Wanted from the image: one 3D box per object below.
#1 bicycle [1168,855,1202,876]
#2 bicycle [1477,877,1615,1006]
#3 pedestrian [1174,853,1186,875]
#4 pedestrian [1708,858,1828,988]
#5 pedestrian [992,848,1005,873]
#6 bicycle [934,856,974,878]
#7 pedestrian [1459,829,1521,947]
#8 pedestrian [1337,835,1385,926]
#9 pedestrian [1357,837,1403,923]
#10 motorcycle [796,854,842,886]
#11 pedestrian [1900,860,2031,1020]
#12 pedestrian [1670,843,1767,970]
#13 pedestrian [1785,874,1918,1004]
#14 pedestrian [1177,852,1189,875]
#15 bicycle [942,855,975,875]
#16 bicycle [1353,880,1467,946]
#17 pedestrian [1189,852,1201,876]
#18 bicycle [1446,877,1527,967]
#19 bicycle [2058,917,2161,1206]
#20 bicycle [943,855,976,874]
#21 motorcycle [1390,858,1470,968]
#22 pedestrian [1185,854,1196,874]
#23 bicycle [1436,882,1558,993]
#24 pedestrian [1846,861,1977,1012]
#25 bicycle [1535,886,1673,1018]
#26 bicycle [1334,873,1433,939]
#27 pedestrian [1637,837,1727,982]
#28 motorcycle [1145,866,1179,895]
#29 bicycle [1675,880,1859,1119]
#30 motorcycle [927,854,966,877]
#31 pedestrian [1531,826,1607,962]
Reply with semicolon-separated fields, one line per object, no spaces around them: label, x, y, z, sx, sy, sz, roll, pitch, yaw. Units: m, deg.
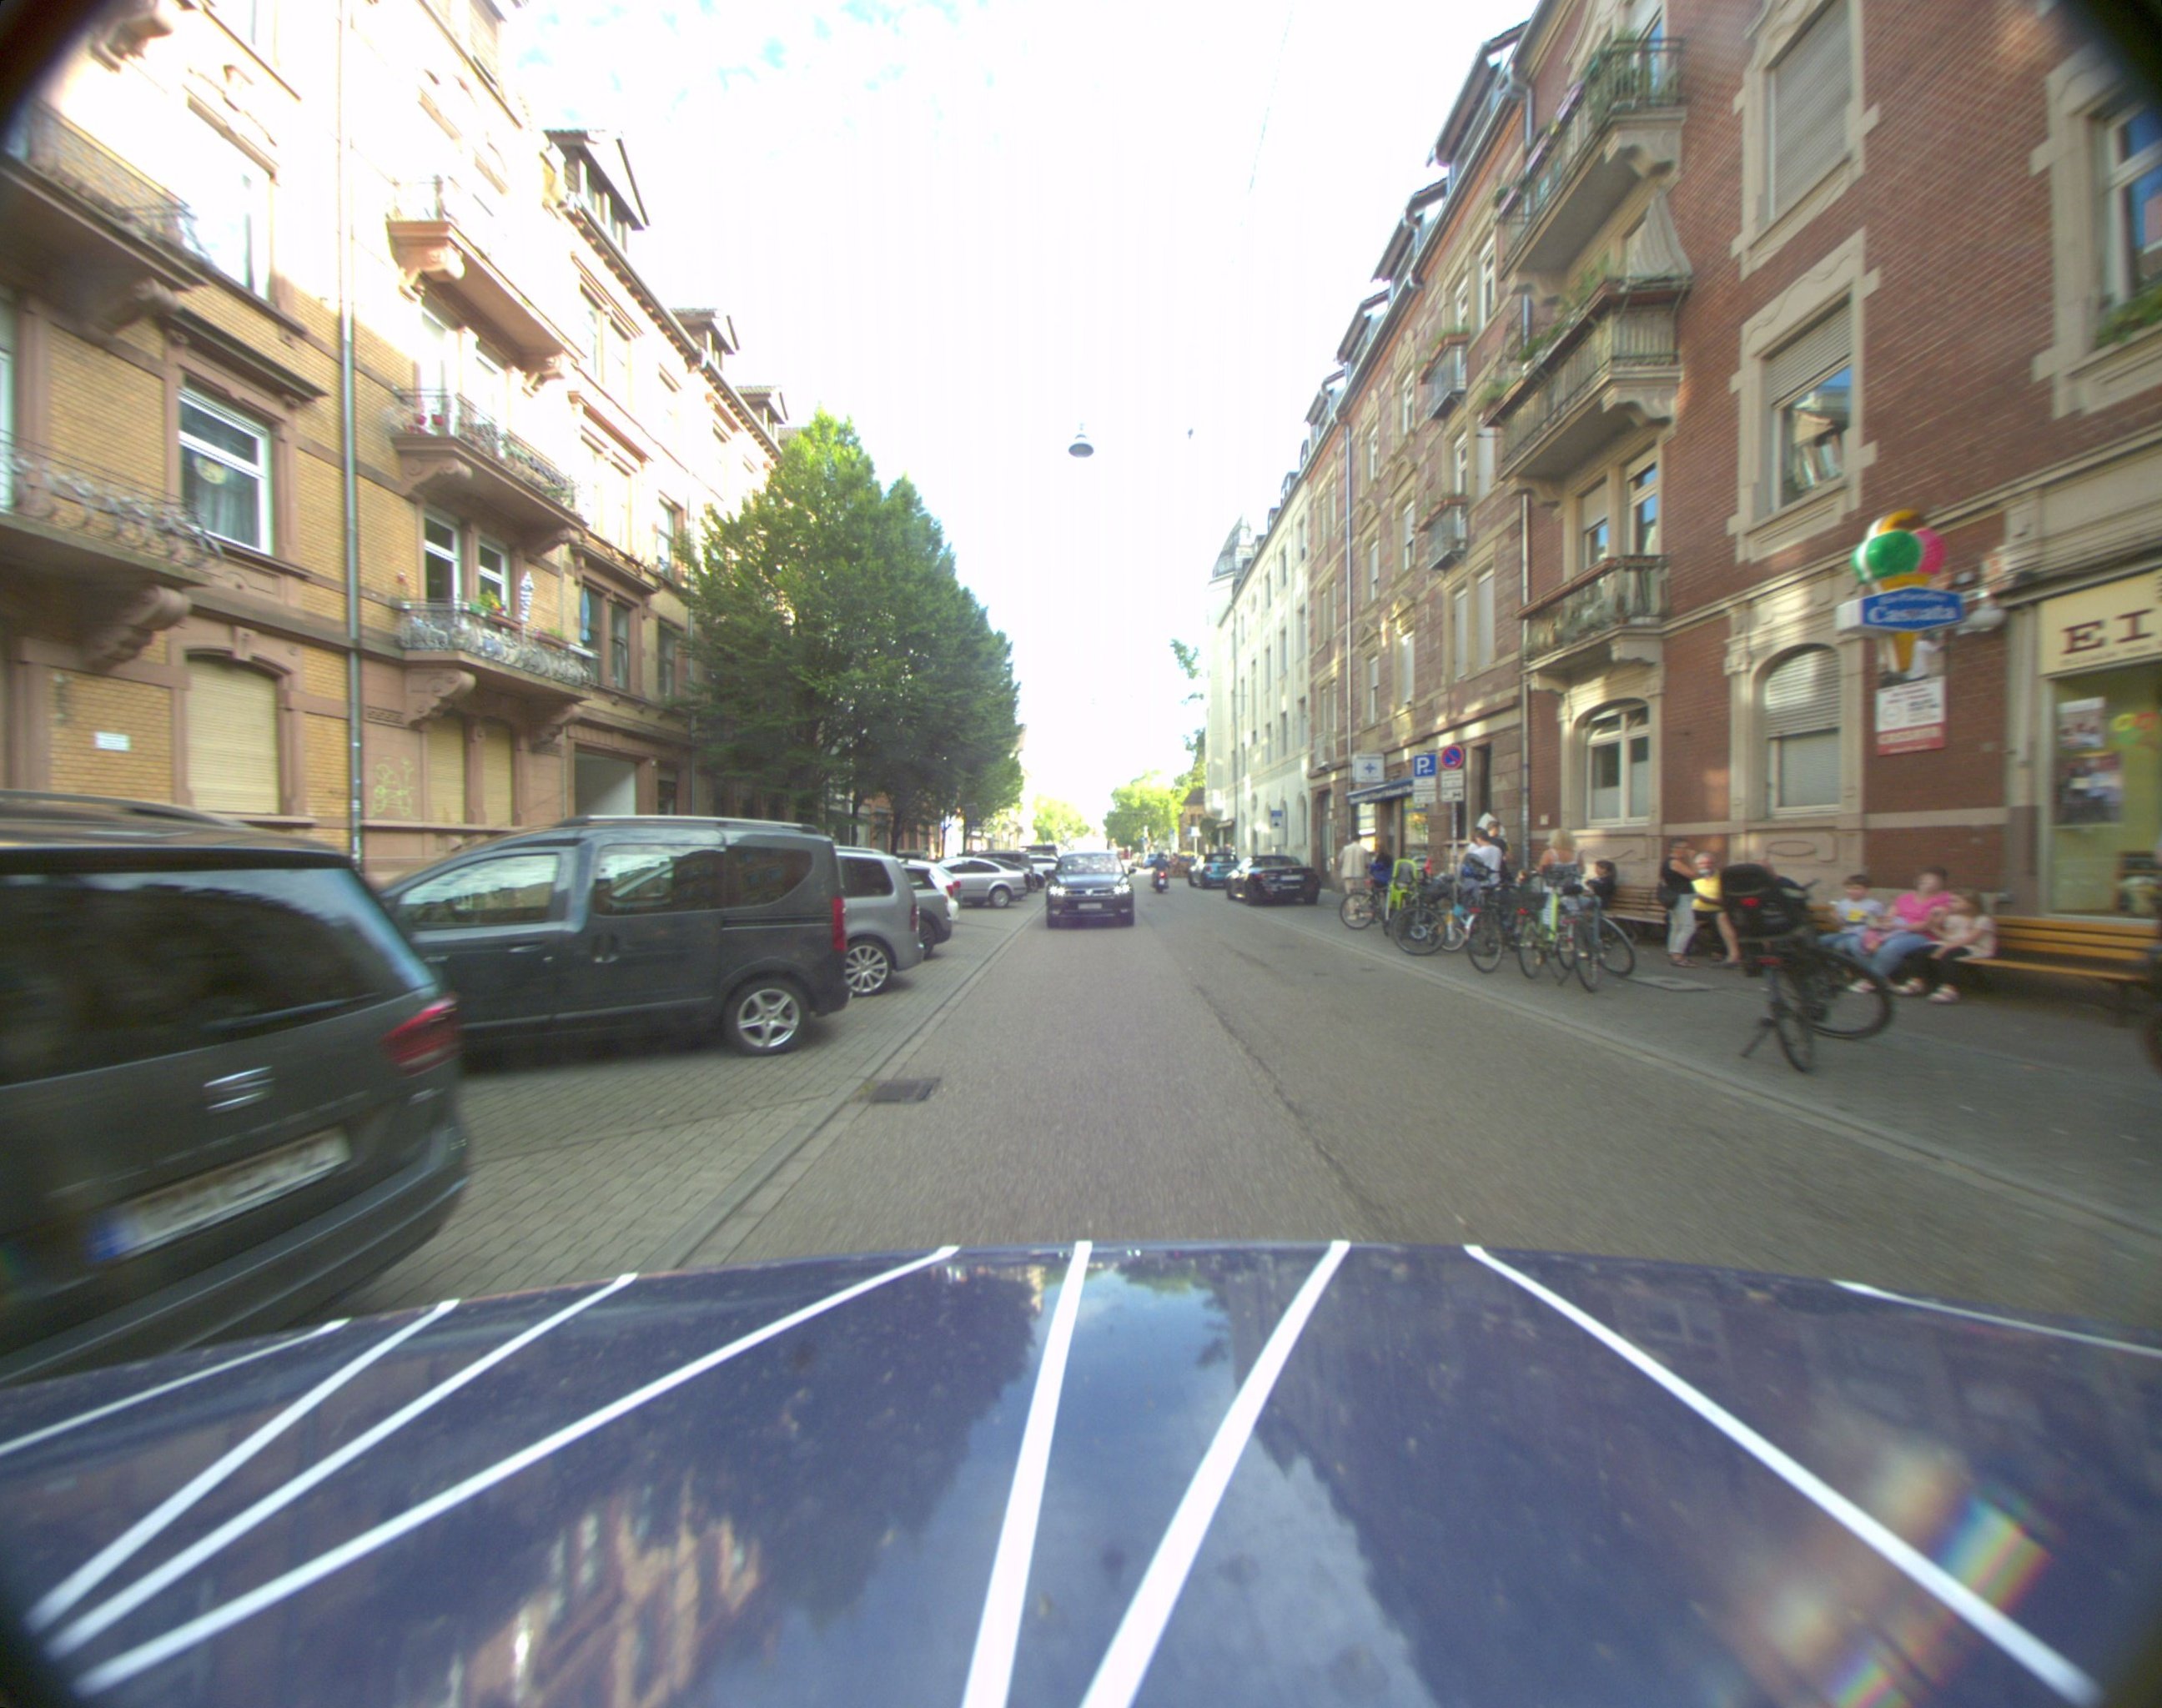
bicycle;6.033;0.686;44.270;1.872;1.168;0.688;-2;1;3
bicycle;5.103;0.891;8.296;1.794;1.193;0.589;-2;1;-35
pedestrian;6.116;0.591;46.771;0.668;1.328;0.740;-2;1;8
pedestrian;7.337;0.712;8.135;0.725;1.306;0.606;-2;1;-2
pedestrian;-5.738;0.451;52.739;0.754;1.729;0.952;3;1;-3
bicycle;-7.017;0.697;42.026;2.025;1.089;0.820;3;1;1
pedestrian;6.312;0.504;11.767;0.605;1.741;0.946;-1;1;14
pedestrian;5.746;0.537;15.576;0.761;1.808;0.667;-1;1;31
pedestrian;6.304;0.539;16.027;0.761;1.749;0.667;-1;1;31
motorcycle;-10.360;0.618;30.194;0.896;1.180;2.491;-2;0;1
pedestrian;7.578;0.718;6.521;0.703;1.306;0.373;-2;1;-3
pedestrian;7.635;0.609;9.136;0.605;1.461;0.726;-2;1;12
pedestrian;7.539;0.807;7.456;0.710;1.190;0.586;-2;1;-3
pedestrian;6.092;0.574;45.395;0.689;1.365;0.739;-2;1;5
bicycle;-7.474;0.658;46.413;1.896;1.113;0.618;3;1;-1
bicycle;5.440;0.970;12.624;1.683;1.024;0.410;-2;1;22
pedestrian;6.776;0.590;45.276;0.637;1.364;0.684;-2;1;5
bicycle;5.598;0.902;10.583;0.579;1.084;1.740;-2;0;14
bicycle;4.972;0.938;3.028;0.806;1.152;2.274;-1;1;39
bicycle;-7.504;0.660;47.046;1.896;1.096;0.618;3;1;-1
motorcycle;4.913;0.769;10.816;0.708;1.376;2.026;-2;0;16
pedestrian;6.735;0.620;46.650;0.597;1.236;0.694;-2;1;8
bicycle;4.901;0.931;8.917;1.573;1.114;0.589;-2;1;-35
pedestrian;7.559;0.734;6.933;0.719;1.306;0.439;-2;1;-3
bicycle;5.325;0.928;7.703;1.741;1.114;0.554;-2;1;-35
bicycle;5.331;0.895;13.445;1.577;1.110;0.375;-1;1;40
pedestrian;6.914;0.619;8.757;0.554;1.607;0.584;-2;1;1
motorcycle;3.060;0.986;29.010;0.796;0.989;2.498;-2;0;-5
bicycle;4.670;0.877;5.137;1.680;1.314;0.526;-2;1;-34
motorcycle;-7.554;0.641;42.847;1.984;1.220;0.827;3;1;-1
pedestrian;6.453;0.515;10.079;0.605;1.741;0.726;-2;1;12
